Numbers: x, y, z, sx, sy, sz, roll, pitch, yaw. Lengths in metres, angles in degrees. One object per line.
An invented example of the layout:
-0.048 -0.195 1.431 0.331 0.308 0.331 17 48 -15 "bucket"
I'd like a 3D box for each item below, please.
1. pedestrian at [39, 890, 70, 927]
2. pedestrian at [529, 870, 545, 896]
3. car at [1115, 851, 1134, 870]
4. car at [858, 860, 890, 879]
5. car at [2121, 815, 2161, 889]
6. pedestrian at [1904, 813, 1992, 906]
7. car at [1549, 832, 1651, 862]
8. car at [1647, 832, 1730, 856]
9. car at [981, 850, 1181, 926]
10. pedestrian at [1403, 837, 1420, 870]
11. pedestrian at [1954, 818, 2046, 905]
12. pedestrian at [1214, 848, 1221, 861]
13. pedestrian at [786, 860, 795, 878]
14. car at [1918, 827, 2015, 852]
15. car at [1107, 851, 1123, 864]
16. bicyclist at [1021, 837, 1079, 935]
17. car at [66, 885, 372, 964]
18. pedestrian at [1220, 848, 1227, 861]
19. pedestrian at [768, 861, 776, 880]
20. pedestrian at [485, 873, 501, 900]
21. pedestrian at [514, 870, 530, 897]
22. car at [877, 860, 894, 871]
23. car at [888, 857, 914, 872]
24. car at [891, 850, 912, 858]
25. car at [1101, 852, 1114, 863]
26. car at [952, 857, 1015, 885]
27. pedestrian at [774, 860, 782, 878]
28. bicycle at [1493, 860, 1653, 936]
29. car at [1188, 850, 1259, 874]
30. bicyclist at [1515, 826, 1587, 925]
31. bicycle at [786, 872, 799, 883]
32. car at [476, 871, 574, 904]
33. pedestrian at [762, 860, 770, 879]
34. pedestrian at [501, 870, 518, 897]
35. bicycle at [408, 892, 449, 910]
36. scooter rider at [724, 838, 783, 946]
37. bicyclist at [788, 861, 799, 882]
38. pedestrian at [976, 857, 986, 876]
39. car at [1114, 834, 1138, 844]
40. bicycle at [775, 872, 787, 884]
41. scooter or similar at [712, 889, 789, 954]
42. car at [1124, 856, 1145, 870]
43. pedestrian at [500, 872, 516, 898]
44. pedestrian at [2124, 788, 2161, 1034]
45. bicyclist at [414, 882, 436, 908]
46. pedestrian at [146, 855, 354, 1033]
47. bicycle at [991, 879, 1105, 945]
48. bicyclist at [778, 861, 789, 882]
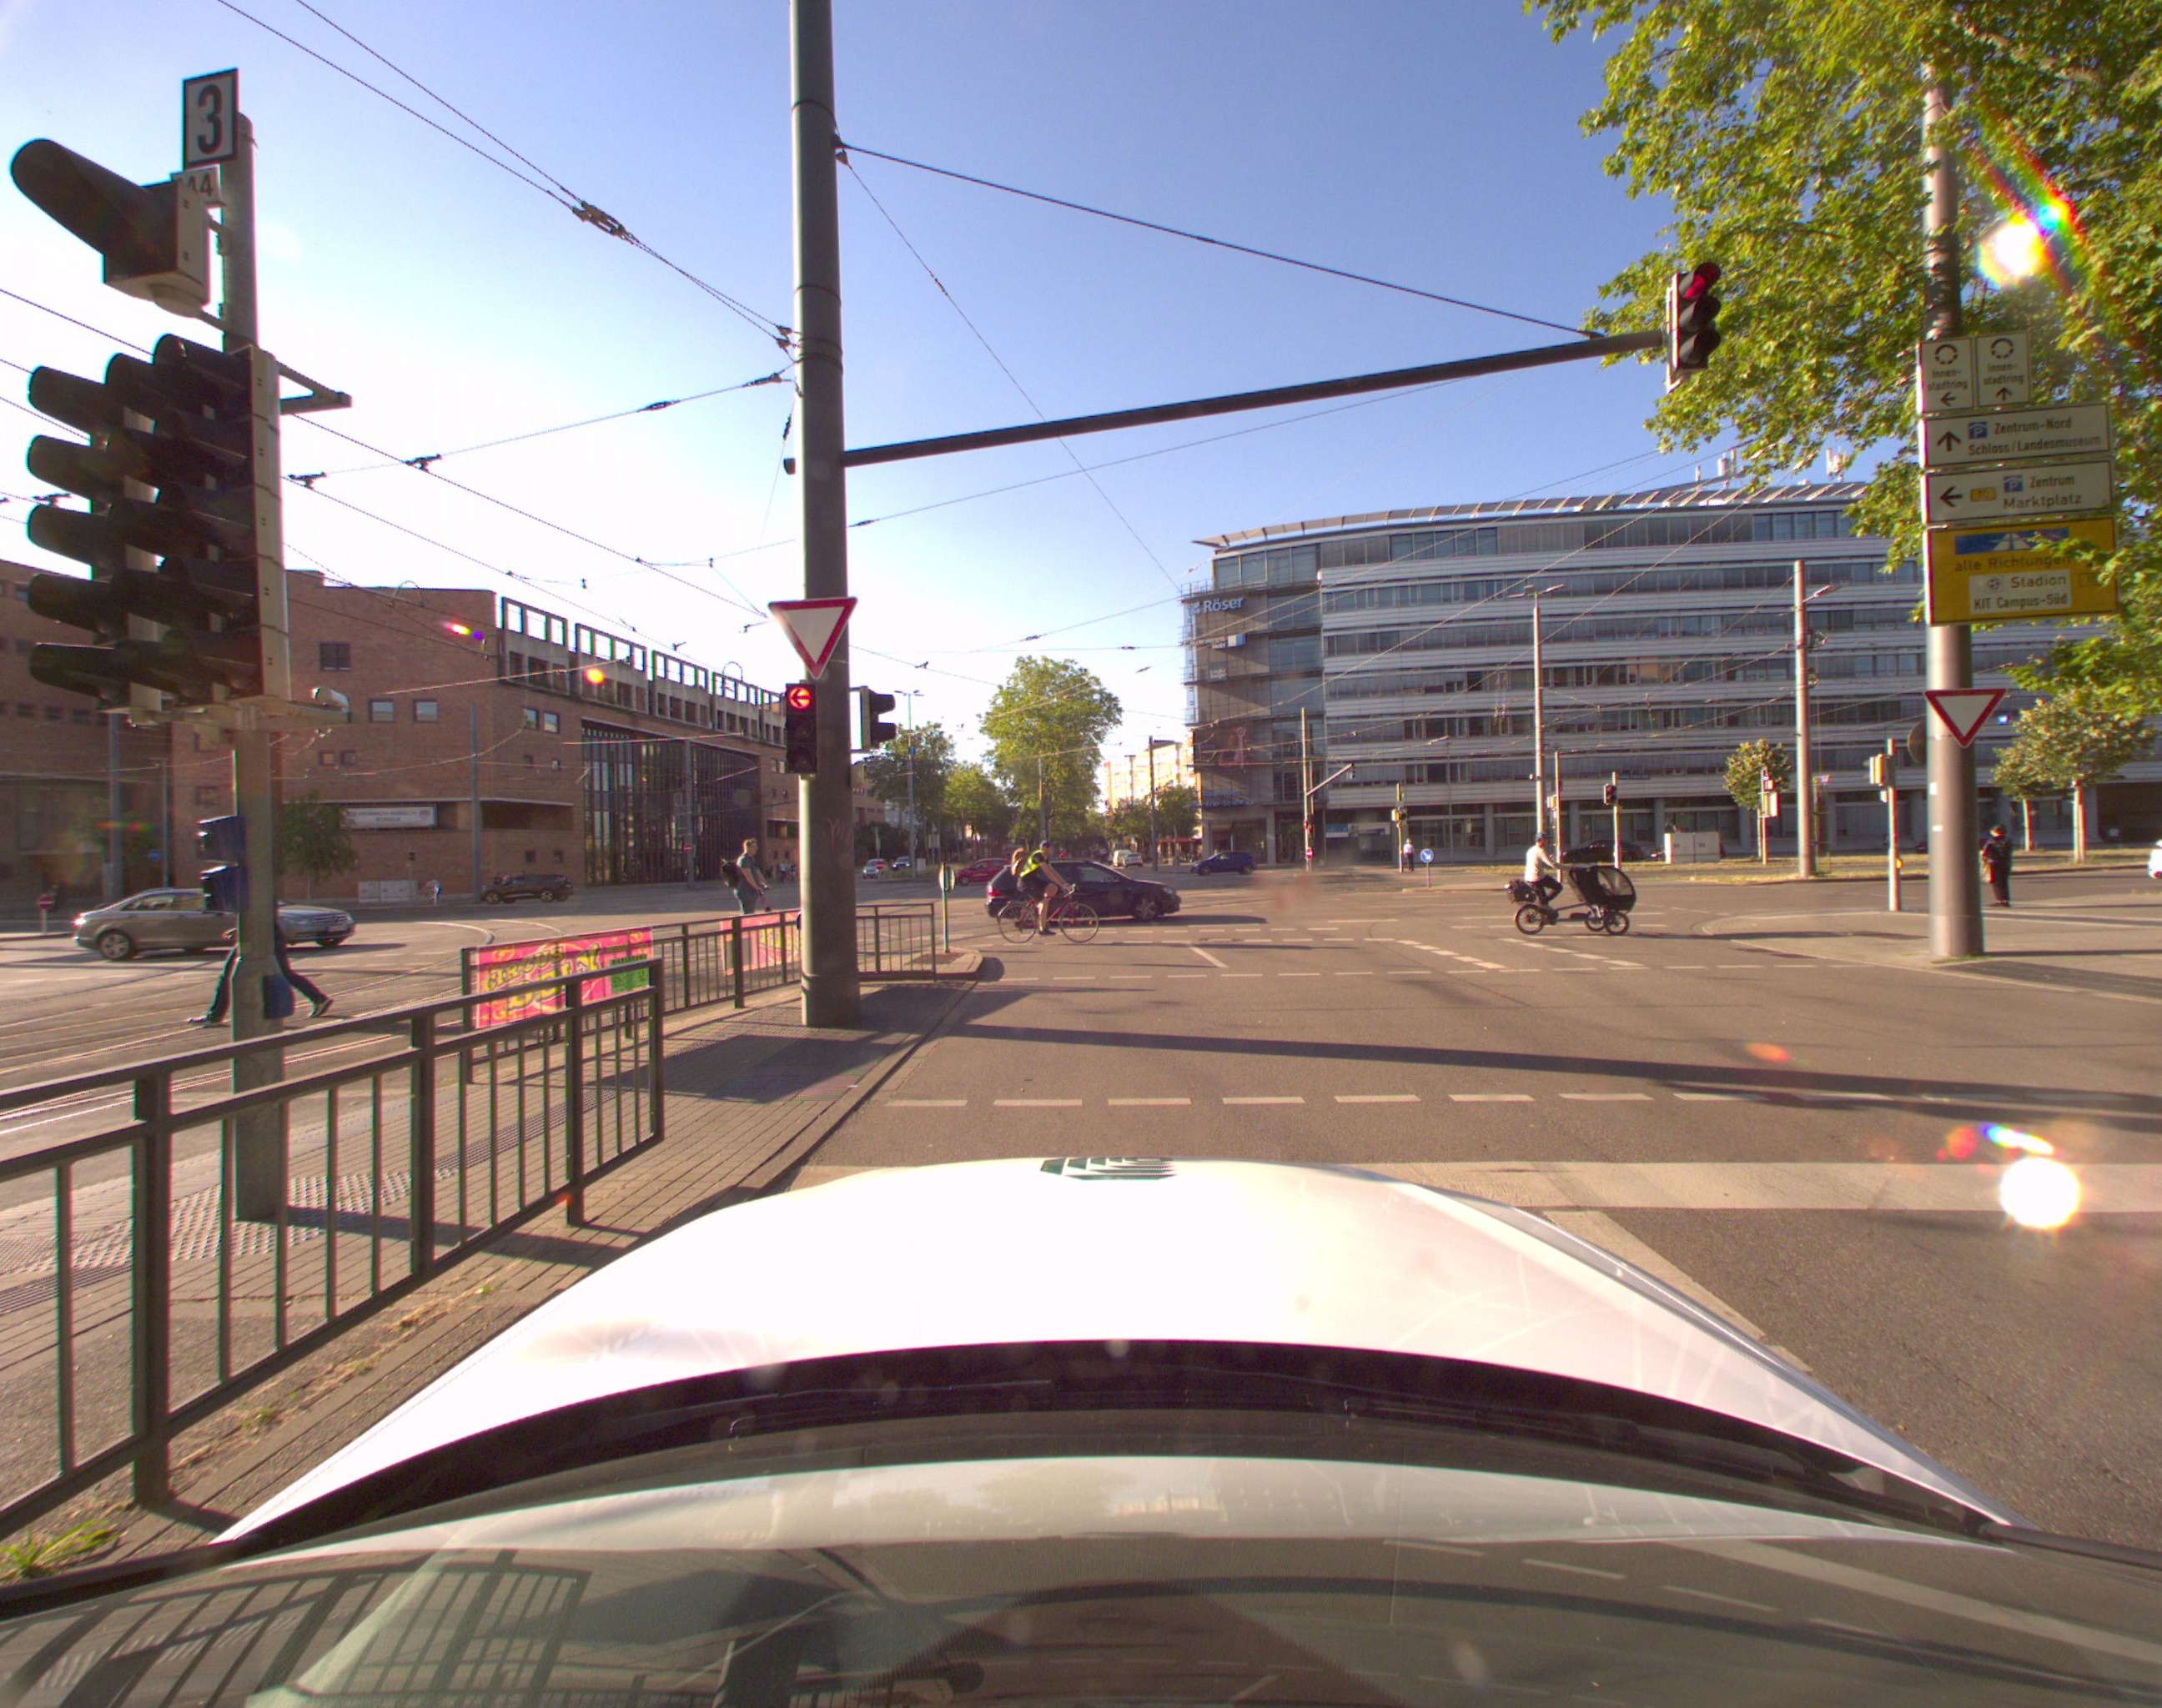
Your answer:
-45.847 2.422 36.374 0.542 1.613 0.613 0 1 -3 "pedestrian"
-34.912 1.845 52.243 0.622 1.650 0.537 -2 0 -4 "pedestrian"
4.752 0.672 89.776 1.986 1.991 4.002 -2 0 2 "car"
-18.206 1.342 71.784 1.990 1.508 3.994 -2 0 -4 "car"
27.822 -0.114 18.779 4.812 1.727 2.003 -2 0 4 "car"
17.414 0.109 16.380 0.840 1.820 0.870 -1 0 9 "pedestrian"
27.648 -0.371 43.478 4.219 1.392 1.799 -2 0 6 "car"
39.102 -0.641 52.512 3.970 1.398 1.761 -2 0 3 "car"
-0.015 0.746 18.947 4.374 1.517 1.998 -2 1 -3 "car"
17.247 -0.021 42.541 0.715 1.681 0.558 -1 0 9 "pedestrian"
18.348 0.145 16.280 0.840 1.681 0.870 -1 0 9 "pedestrian"
15.949 0.032 95.314 0.734 1.465 0.538 -2 0 11 "pedestrian"
-29.320 1.480 82.180 0.637 1.810 0.547 -2 0 9 "pedestrian"
55.083 -0.873 50.704 3.970 1.398 1.761 -2 0 3 "car"
4.399 0.439 105.113 1.986 1.662 4.002 -2 0 2 "car"
-0.536 0.559 14.329 0.900 1.664 0.640 -2 0 4 "bicyclist"
-18.768 1.502 17.932 4.370 1.379 1.997 -2 0 -4 "car"
16.601 0.098 94.845 0.701 1.465 0.385 -2 0 11 "pedestrian"
-31.359 1.676 82.613 0.487 1.810 0.547 -2 0 9 "pedestrian"
-35.333 1.961 48.941 0.538 1.613 0.575 -2 0 33 "pedestrian"
-35.275 1.860 51.378 0.621 1.650 0.538 -2 0 0 "pedestrian"
-26.115 1.552 108.962 1.906 1.510 3.987 0 -1 -9 "car"
-18.952 1.089 86.010 1.990 1.508 3.994 -2 0 -4 "car"
-38.579 0.009 174.973 4.011 1.552 1.592 0 -1 -29 "car"
4.152 0.584 126.851 1.986 1.662 4.002 -2 0 2 "car"
-5.753 0.970 47.927 3.597 1.466 1.789 -2 0 -10 "car"
-30.615 1.499 82.251 0.519 1.779 0.547 -2 0 9 "pedestrian"
8.480 0.737 14.161 2.144 1.226 1.075 -1 1 9 "bicycle"
8.725 0.485 50.178 3.975 1.348 1.975 -2 0 -1 "car"
8.155 0.360 14.165 0.898 1.681 0.693 0 0 9 "bicyclist"
-23.588 1.918 66.563 0.512 0.881 1.835 -2 0 -6 "bicycle"
-29.664 1.776 43.569 3.867 1.507 1.786 -2 0 -15 "car"
-31.422 1.530 81.282 0.487 1.810 0.547 -2 0 9 "pedestrian"
-36.010 1.873 51.330 0.621 1.650 0.538 -2 0 -1 "pedestrian"
-36.430 2.624 45.480 1.746 0.899 0.406 -2 0 -19 "bicycle"
-5.971 0.678 14.867 0.660 1.896 0.737 -2 0 4 "scooter rider"
-23.498 1.404 66.622 0.592 1.675 0.788 -2 0 -4 "bicyclist"
-7.835 0.981 63.675 0.753 1.530 0.507 -1 0 -5 "pedestrian"
7.710 -2.591 140.326 3.732 1.750 1.789 0 -1 16 "car"
-24.410 1.968 66.277 0.512 0.881 1.835 -2 0 -6 "bicycle"
-6.003 1.224 14.800 1.201 1.104 0.403 -2 0 4 "scooter or similar"
5.441 0.867 82.915 1.986 1.332 4.002 -2 0 2 "car"
-36.790 2.005 52.305 0.622 1.650 0.538 -2 0 -1 "pedestrian"
8.778 0.428 6.084 1.072 1.871 0.737 -1 0 -6 "pedestrian"
-36.578 2.274 45.436 0.821 1.366 0.398 -2 0 -19 "bicyclist"
-9.212 0.942 9.098 1.207 1.822 1.040 -2 -1 -5 "pedestrian"
-0.566 1.013 14.340 1.914 1.064 0.630 -1 0 4 "bicycle"
-24.266 1.405 66.385 0.592 1.675 0.788 -2 0 -4 "bicyclist"
